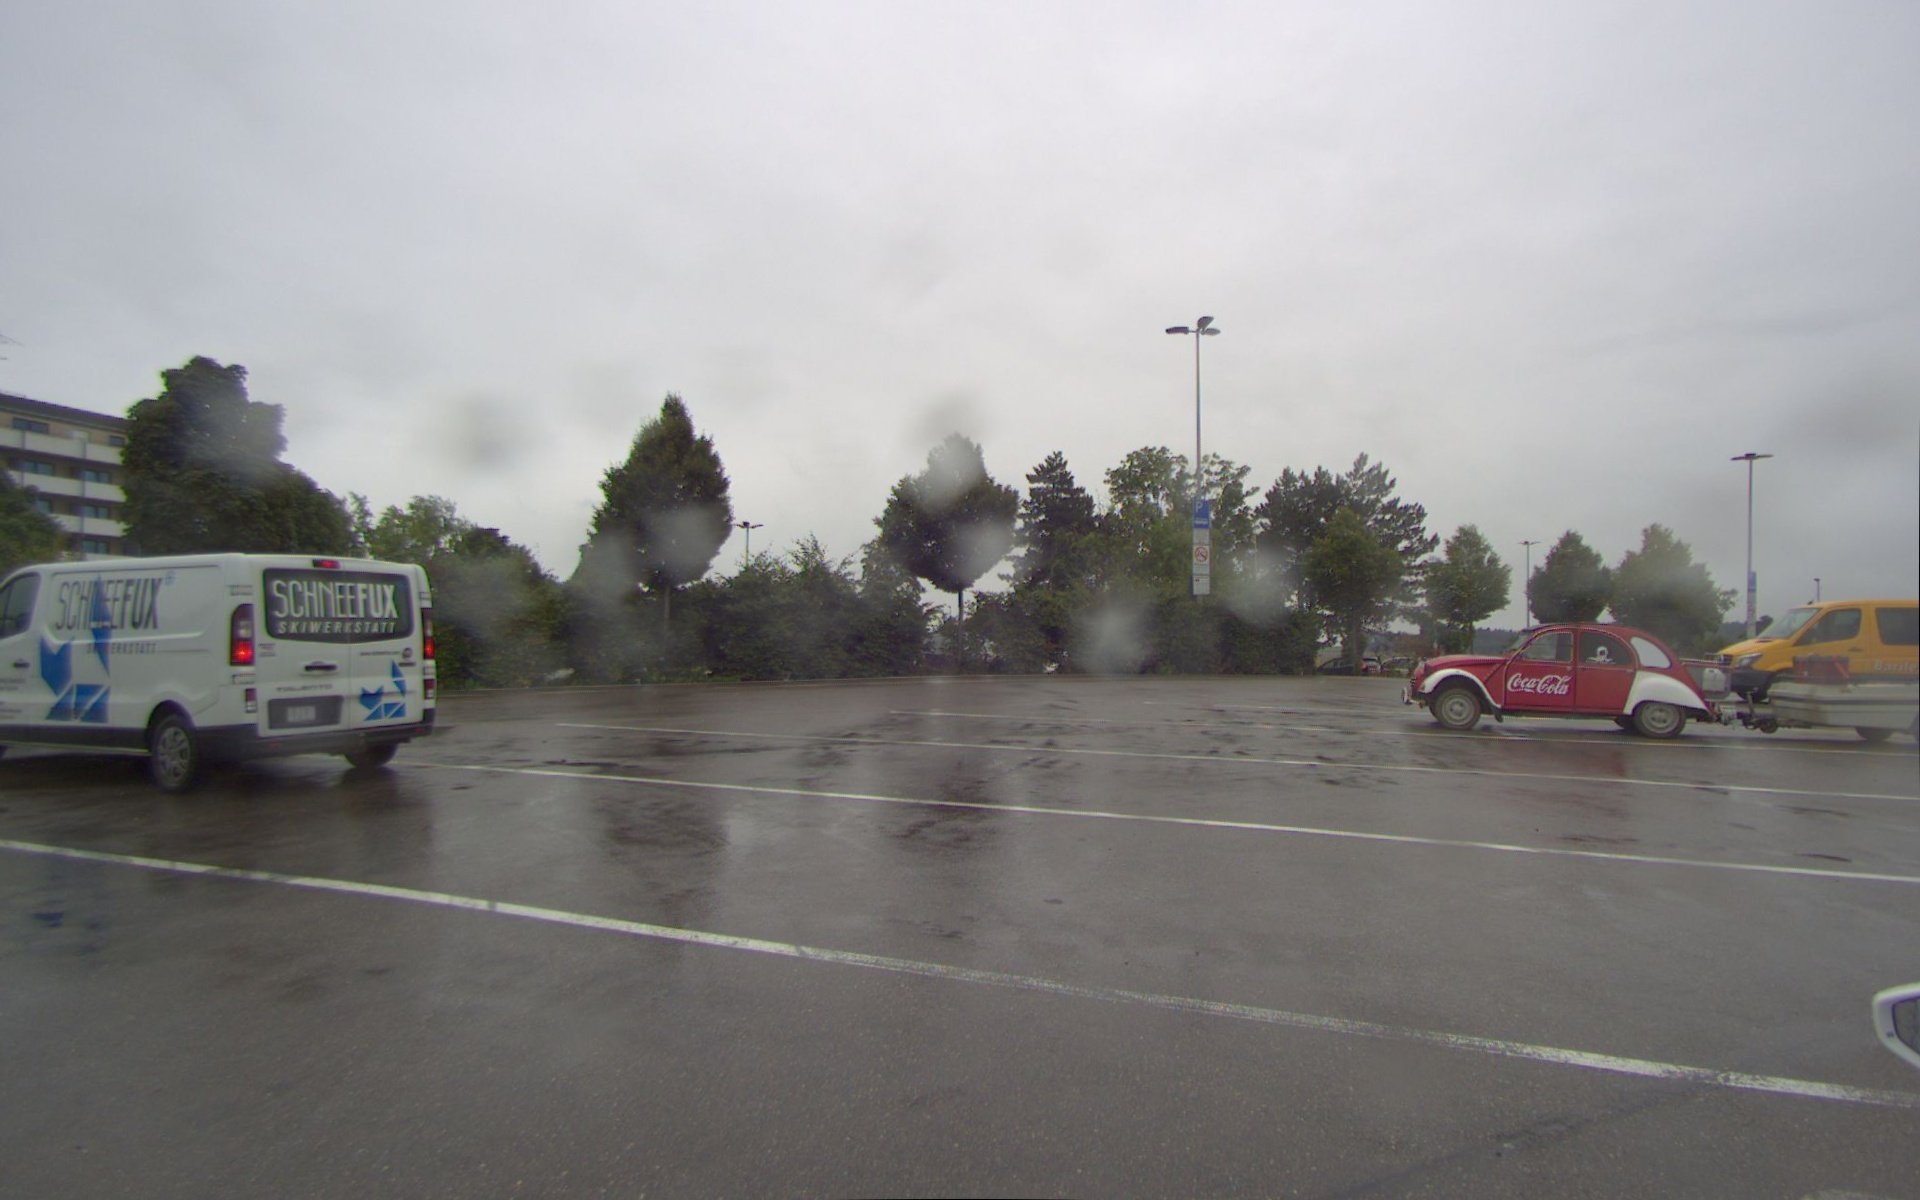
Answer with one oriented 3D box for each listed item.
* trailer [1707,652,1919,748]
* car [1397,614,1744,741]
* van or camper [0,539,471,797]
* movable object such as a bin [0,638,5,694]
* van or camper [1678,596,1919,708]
[{"bbox_3d":[11.609,1.254,12.865,2.972,1.081,1.588,1,-2,23],"label":"trailer"},{"bbox_3d":[8.341,1.004,14.147,3.979,1.576,1.549,0,-1,23],"label":"car"},{"bbox_3d":[-7.484,0.558,9.716,5.098,1.971,2.193,0,-1,24],"label":"van or camper"},{"bbox_3d":[-16.026,1.082,16.387,0.408,0.932,0.495,0,-1,7],"label":"movable object such as a bin"},{"bbox_3d":[19.576,1.084,21.664,6.292,2.276,2.135,0,-1,20],"label":"van or camper"}]
